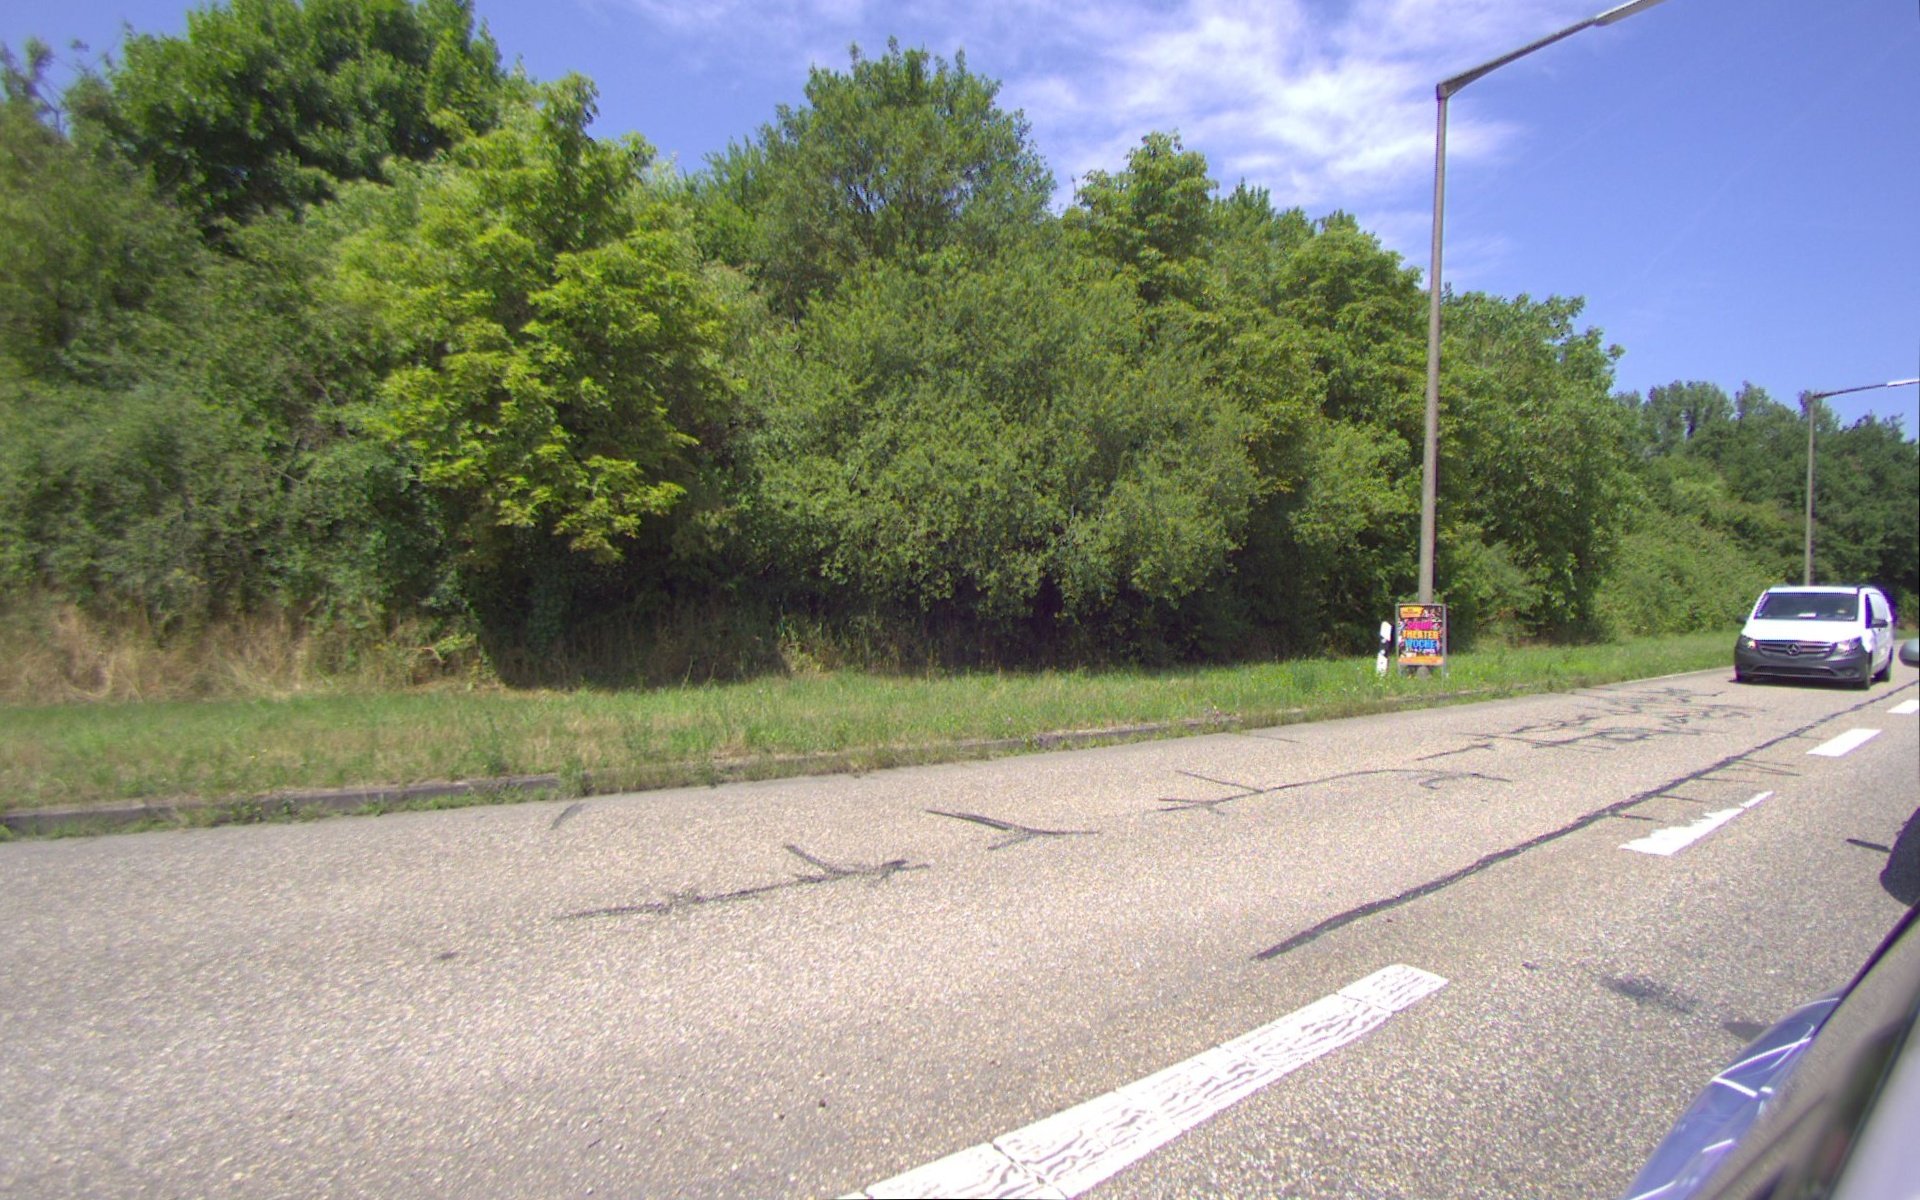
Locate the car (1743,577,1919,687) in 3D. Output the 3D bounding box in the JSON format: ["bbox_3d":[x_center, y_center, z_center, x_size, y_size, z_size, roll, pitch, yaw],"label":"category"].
[{"bbox_3d":[16.760,0.532,19.374,4.822,1.841,1.864,0,1,-41],"label":"car"}]
